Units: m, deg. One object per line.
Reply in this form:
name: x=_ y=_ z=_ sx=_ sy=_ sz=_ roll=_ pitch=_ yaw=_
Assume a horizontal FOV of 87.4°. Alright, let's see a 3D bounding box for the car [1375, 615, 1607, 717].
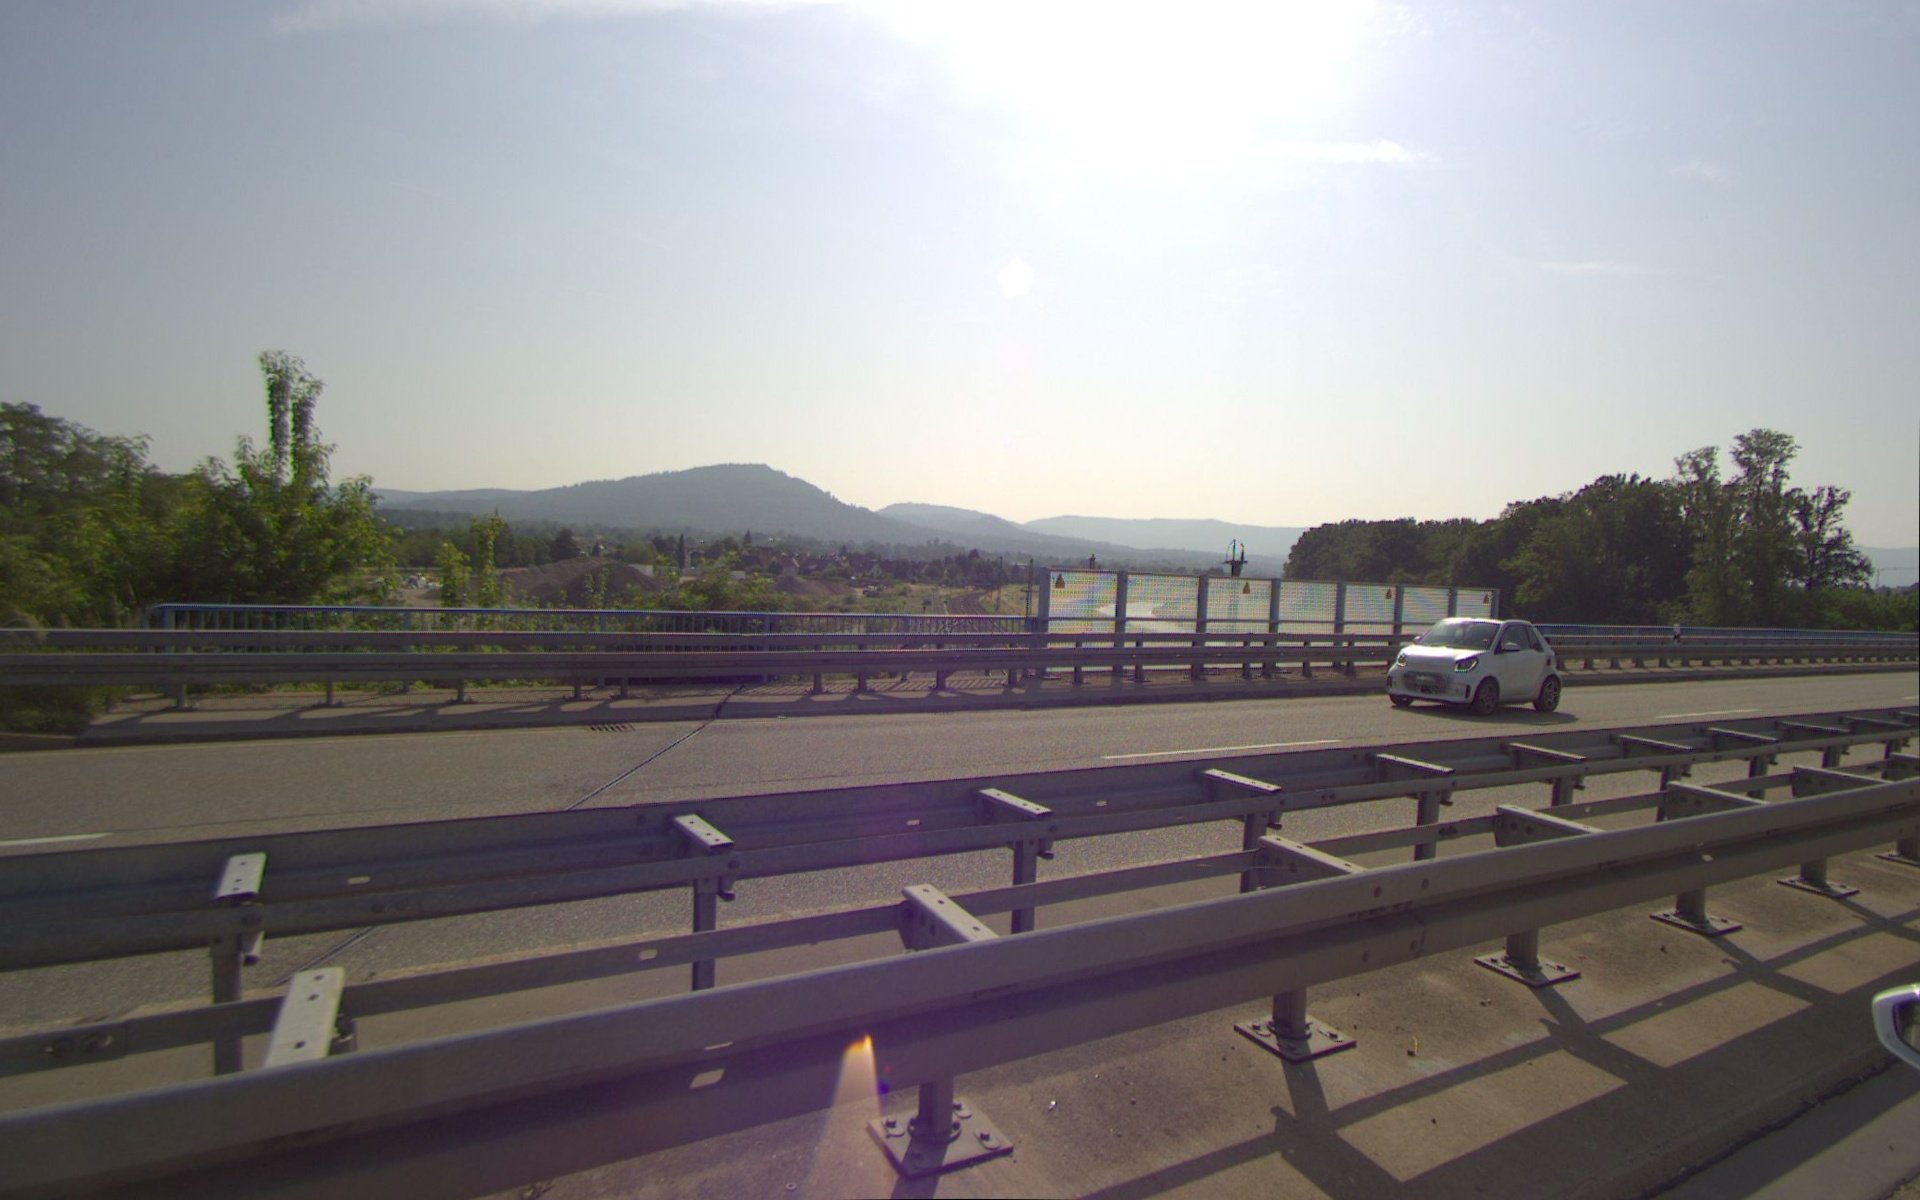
car: x=9.189 y=1.081 z=17.318 sx=3.952 sy=1.522 sz=1.640 roll=2 pitch=1 yaw=-30
